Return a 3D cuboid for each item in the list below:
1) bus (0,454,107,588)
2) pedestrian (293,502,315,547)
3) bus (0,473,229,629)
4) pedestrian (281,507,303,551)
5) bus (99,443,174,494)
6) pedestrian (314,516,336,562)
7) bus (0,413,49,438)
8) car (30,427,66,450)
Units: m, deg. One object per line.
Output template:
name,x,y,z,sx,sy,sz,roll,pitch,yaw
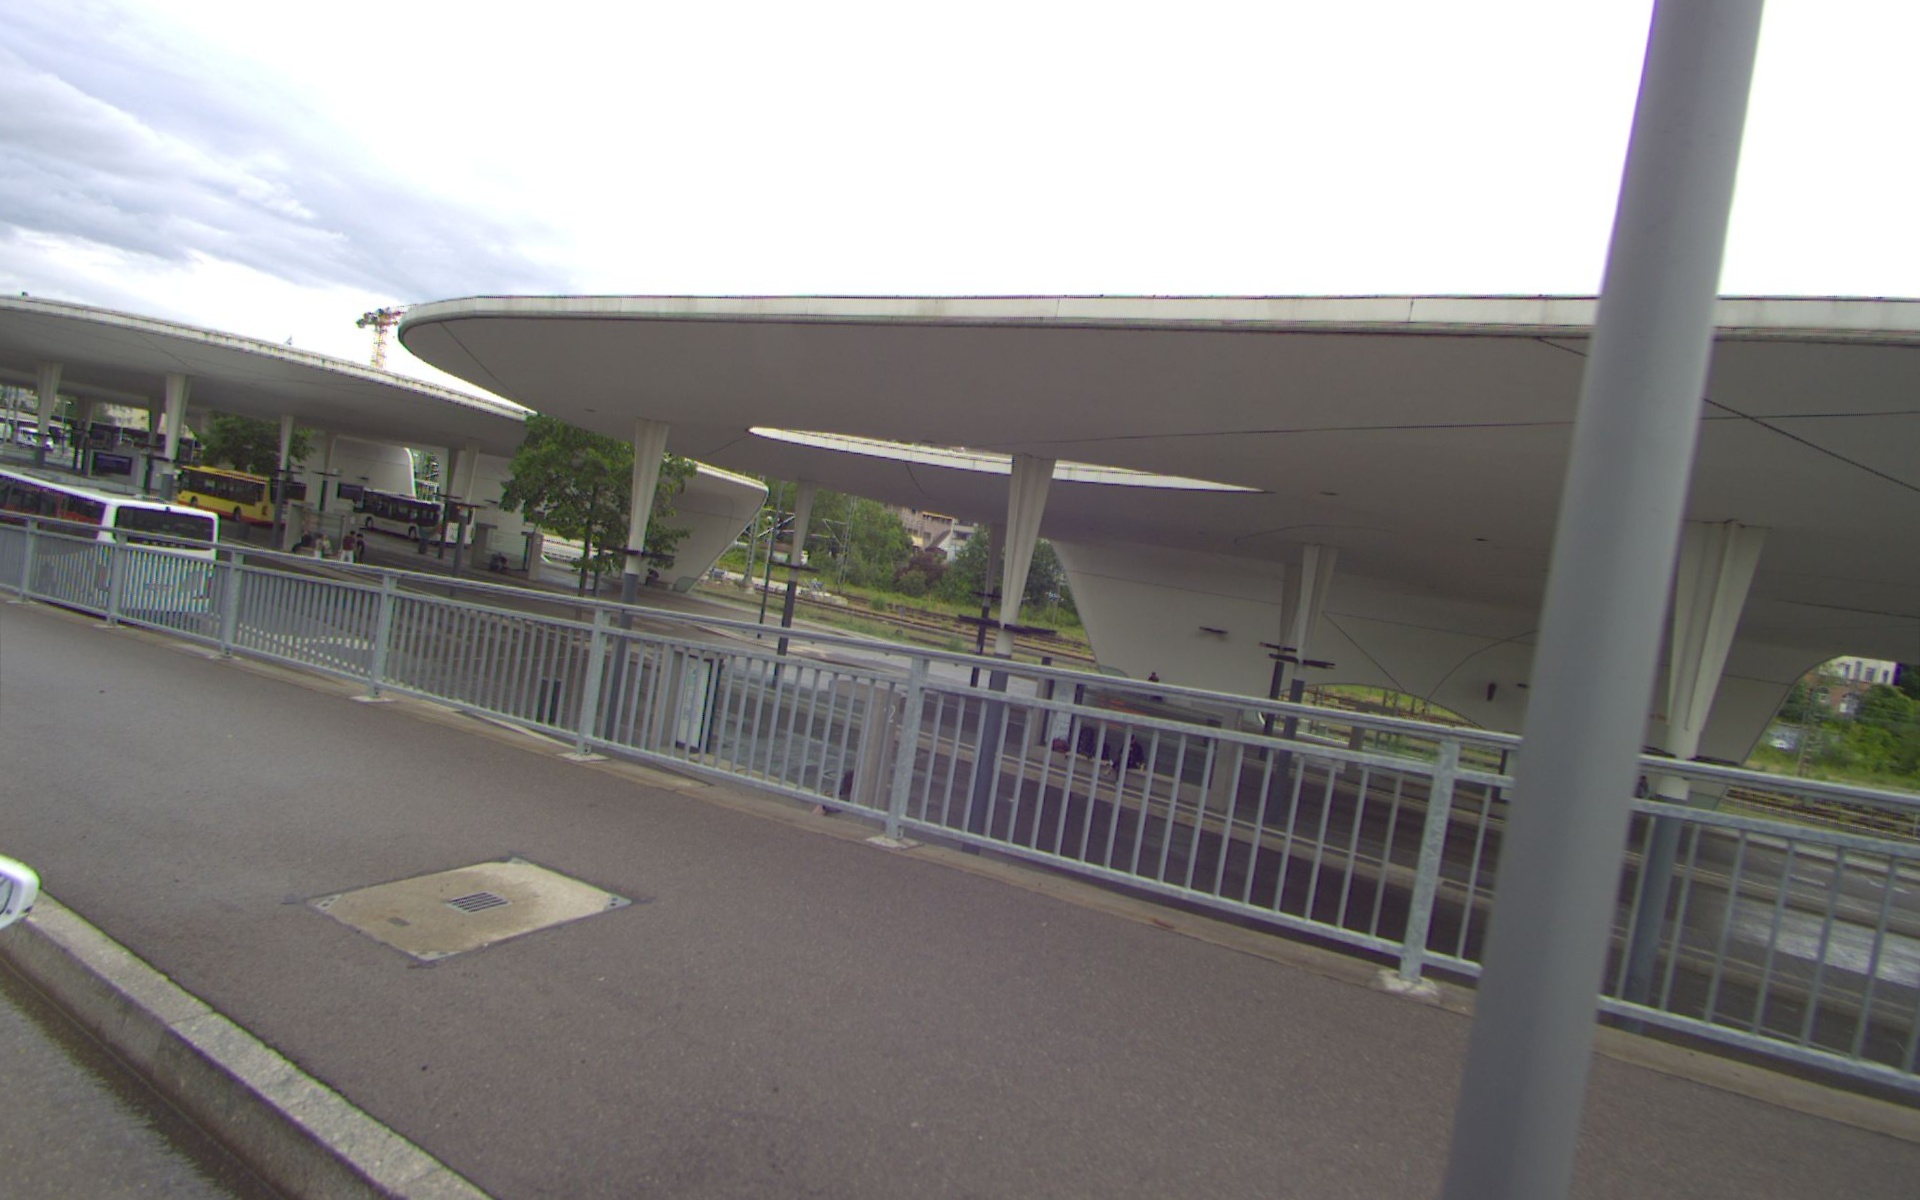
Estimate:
bus,-29.526,-2.648,30.812,6.948,3.279,2.650,11,3,28
pedestrian,-31.035,-3.568,47.579,0.570,2.039,0.544,8,2,32
bus,-23.457,-1.380,27.514,6.948,3.279,2.650,9,2,28
pedestrian,-32.229,-3.440,48.540,0.570,2.039,0.544,8,2,32
bus,-66.238,-10.622,80.914,6.879,3.251,2.601,9,2,34
pedestrian,-29.229,-2.808,46.333,0.475,2.039,0.560,8,2,33
bus,-116.300,-21.515,120.747,2.132,2.039,10.184,8,1,29
car,-105.169,-18.611,115.994,3.933,2.040,1.995,9,2,31
